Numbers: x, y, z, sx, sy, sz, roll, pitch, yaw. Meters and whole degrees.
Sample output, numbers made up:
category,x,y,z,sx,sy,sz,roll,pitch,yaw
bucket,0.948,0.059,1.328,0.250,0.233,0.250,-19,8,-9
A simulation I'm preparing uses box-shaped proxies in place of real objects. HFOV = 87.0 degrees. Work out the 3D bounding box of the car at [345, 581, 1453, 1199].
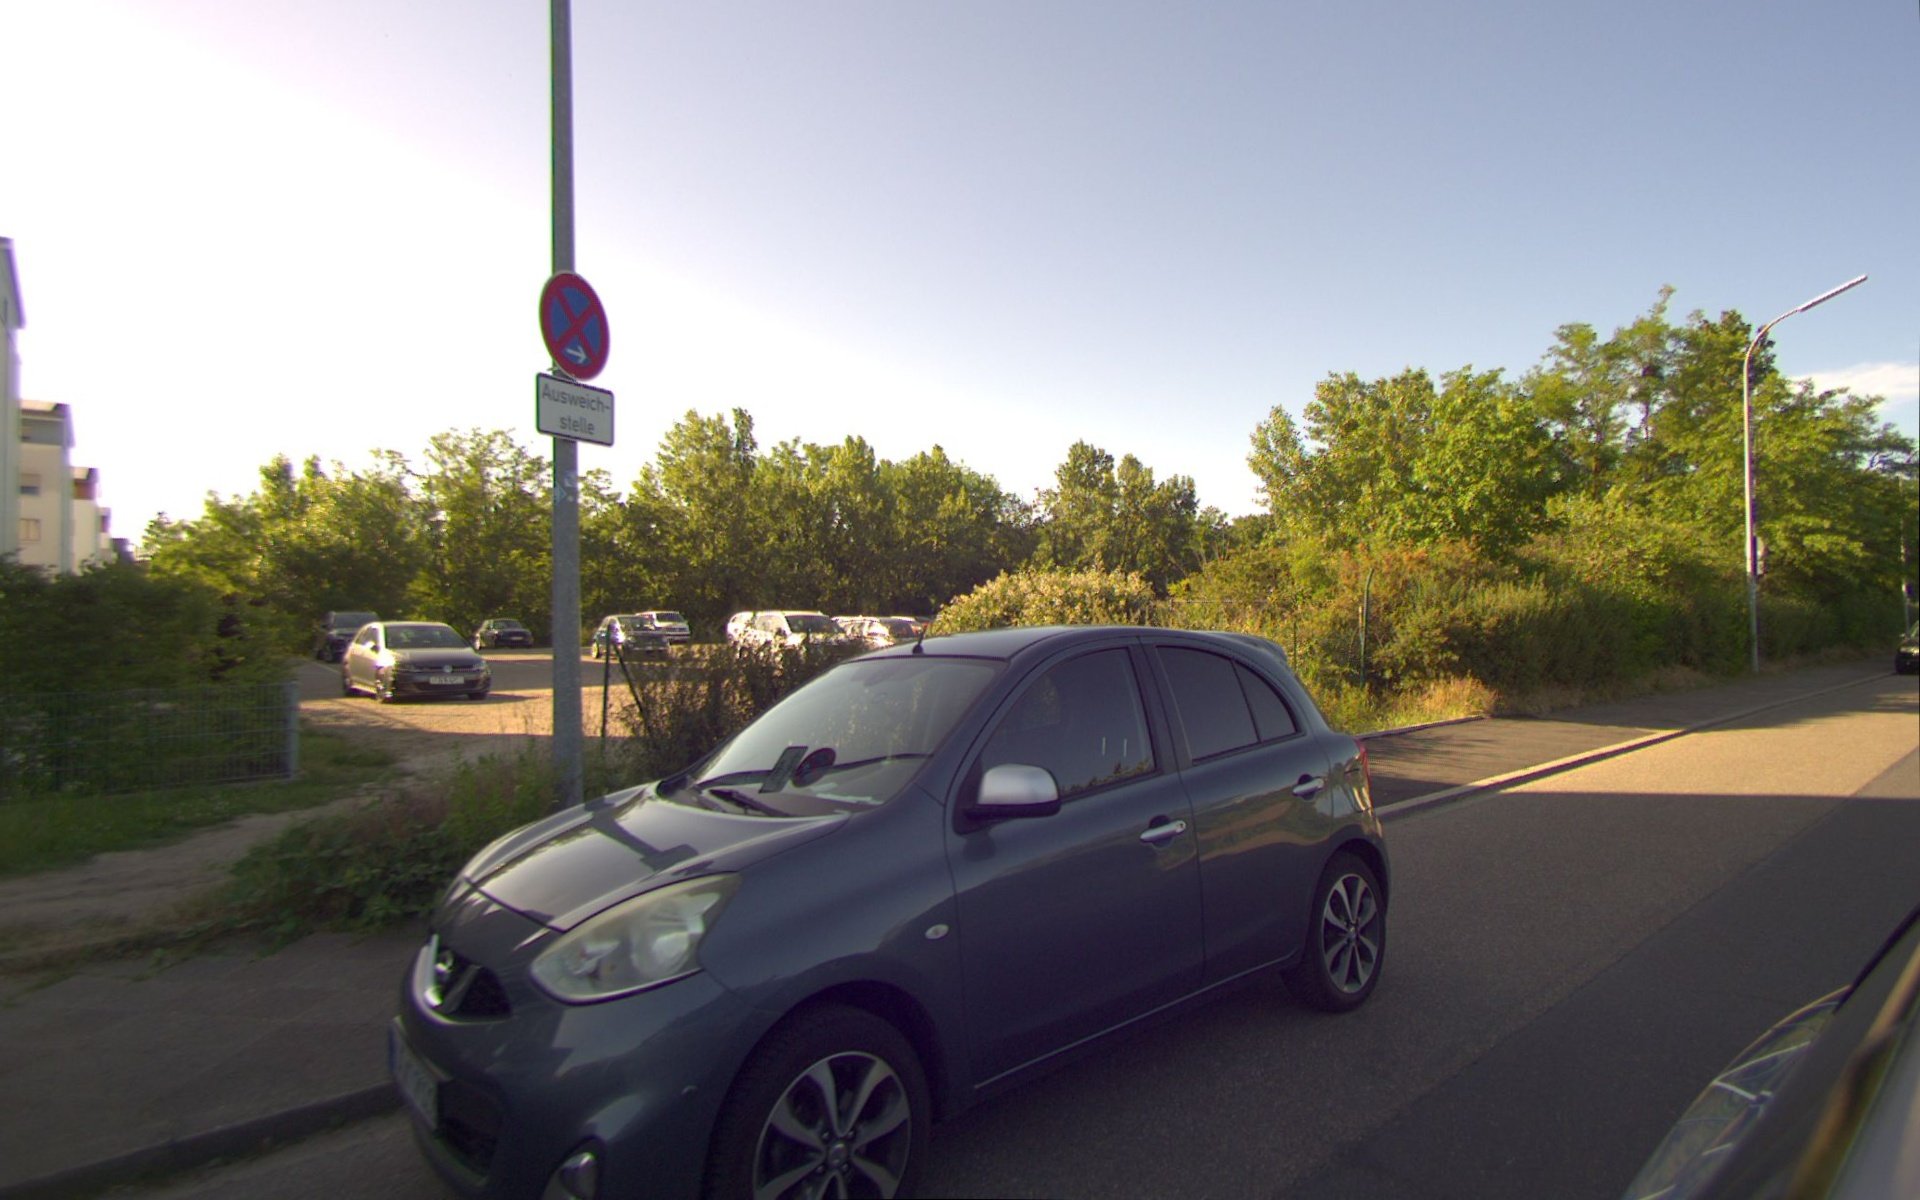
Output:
category,x,y,z,sx,sy,sz,roll,pitch,yaw
car,0.076,0.784,3.737,3.832,1.546,1.625,0,-4,-40

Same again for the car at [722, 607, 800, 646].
category,x,y,z,sx,sy,sz,roll,pitch,yaw
car,-8.358,1.066,42.208,1.657,1.484,3.887,0,0,-38

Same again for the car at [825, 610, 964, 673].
category,x,y,z,sx,sy,sz,roll,pitch,yaw
car,-1.733,1.008,25.737,1.657,1.457,3.887,0,-1,-38

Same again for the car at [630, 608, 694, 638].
category,x,y,z,sx,sy,sz,roll,pitch,yaw
car,-16.895,1.262,57.304,1.998,1.599,4.504,0,0,-38

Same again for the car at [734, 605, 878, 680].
category,x,y,z,sx,sy,sz,roll,pitch,yaw
car,-3.739,0.946,24.081,1.723,1.608,3.916,0,-1,-38

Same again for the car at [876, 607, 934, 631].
category,x,y,z,sx,sy,sz,roll,pitch,yaw
car,-3.543,1.220,64.695,1.805,1.439,3.887,0,0,-38

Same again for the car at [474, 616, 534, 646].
category,x,y,z,sx,sy,sz,roll,pitch,yaw
car,-21.129,1.411,46.825,1.657,1.262,3.887,0,0,-38

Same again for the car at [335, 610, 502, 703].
category,x,y,z,sx,sy,sz,roll,pitch,yaw
car,-10.284,0.983,19.099,1.854,1.546,4.121,0,-1,-42

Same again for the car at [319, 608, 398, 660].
category,x,y,z,sx,sy,sz,roll,pitch,yaw
car,-19.555,1.050,32.841,1.614,1.560,3.896,0,0,-40

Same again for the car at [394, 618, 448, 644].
category,x,y,z,sx,sy,sz,roll,pitch,yaw
car,-25.951,1.473,48.705,1.658,1.101,3.886,0,0,-38

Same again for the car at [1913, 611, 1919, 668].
category,x,y,z,sx,sy,sz,roll,pitch,yaw
car,26.720,0.963,26.755,4.576,1.432,1.755,0,-4,-42

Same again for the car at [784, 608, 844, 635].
category,x,y,z,sx,sy,sz,roll,pitch,yaw
car,-8.495,1.216,58.789,1.805,1.439,3.887,0,0,-38

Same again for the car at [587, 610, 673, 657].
category,x,y,z,sx,sy,sz,roll,pitch,yaw
car,-11.068,1.086,33.773,1.598,1.479,3.676,0,-1,-38
